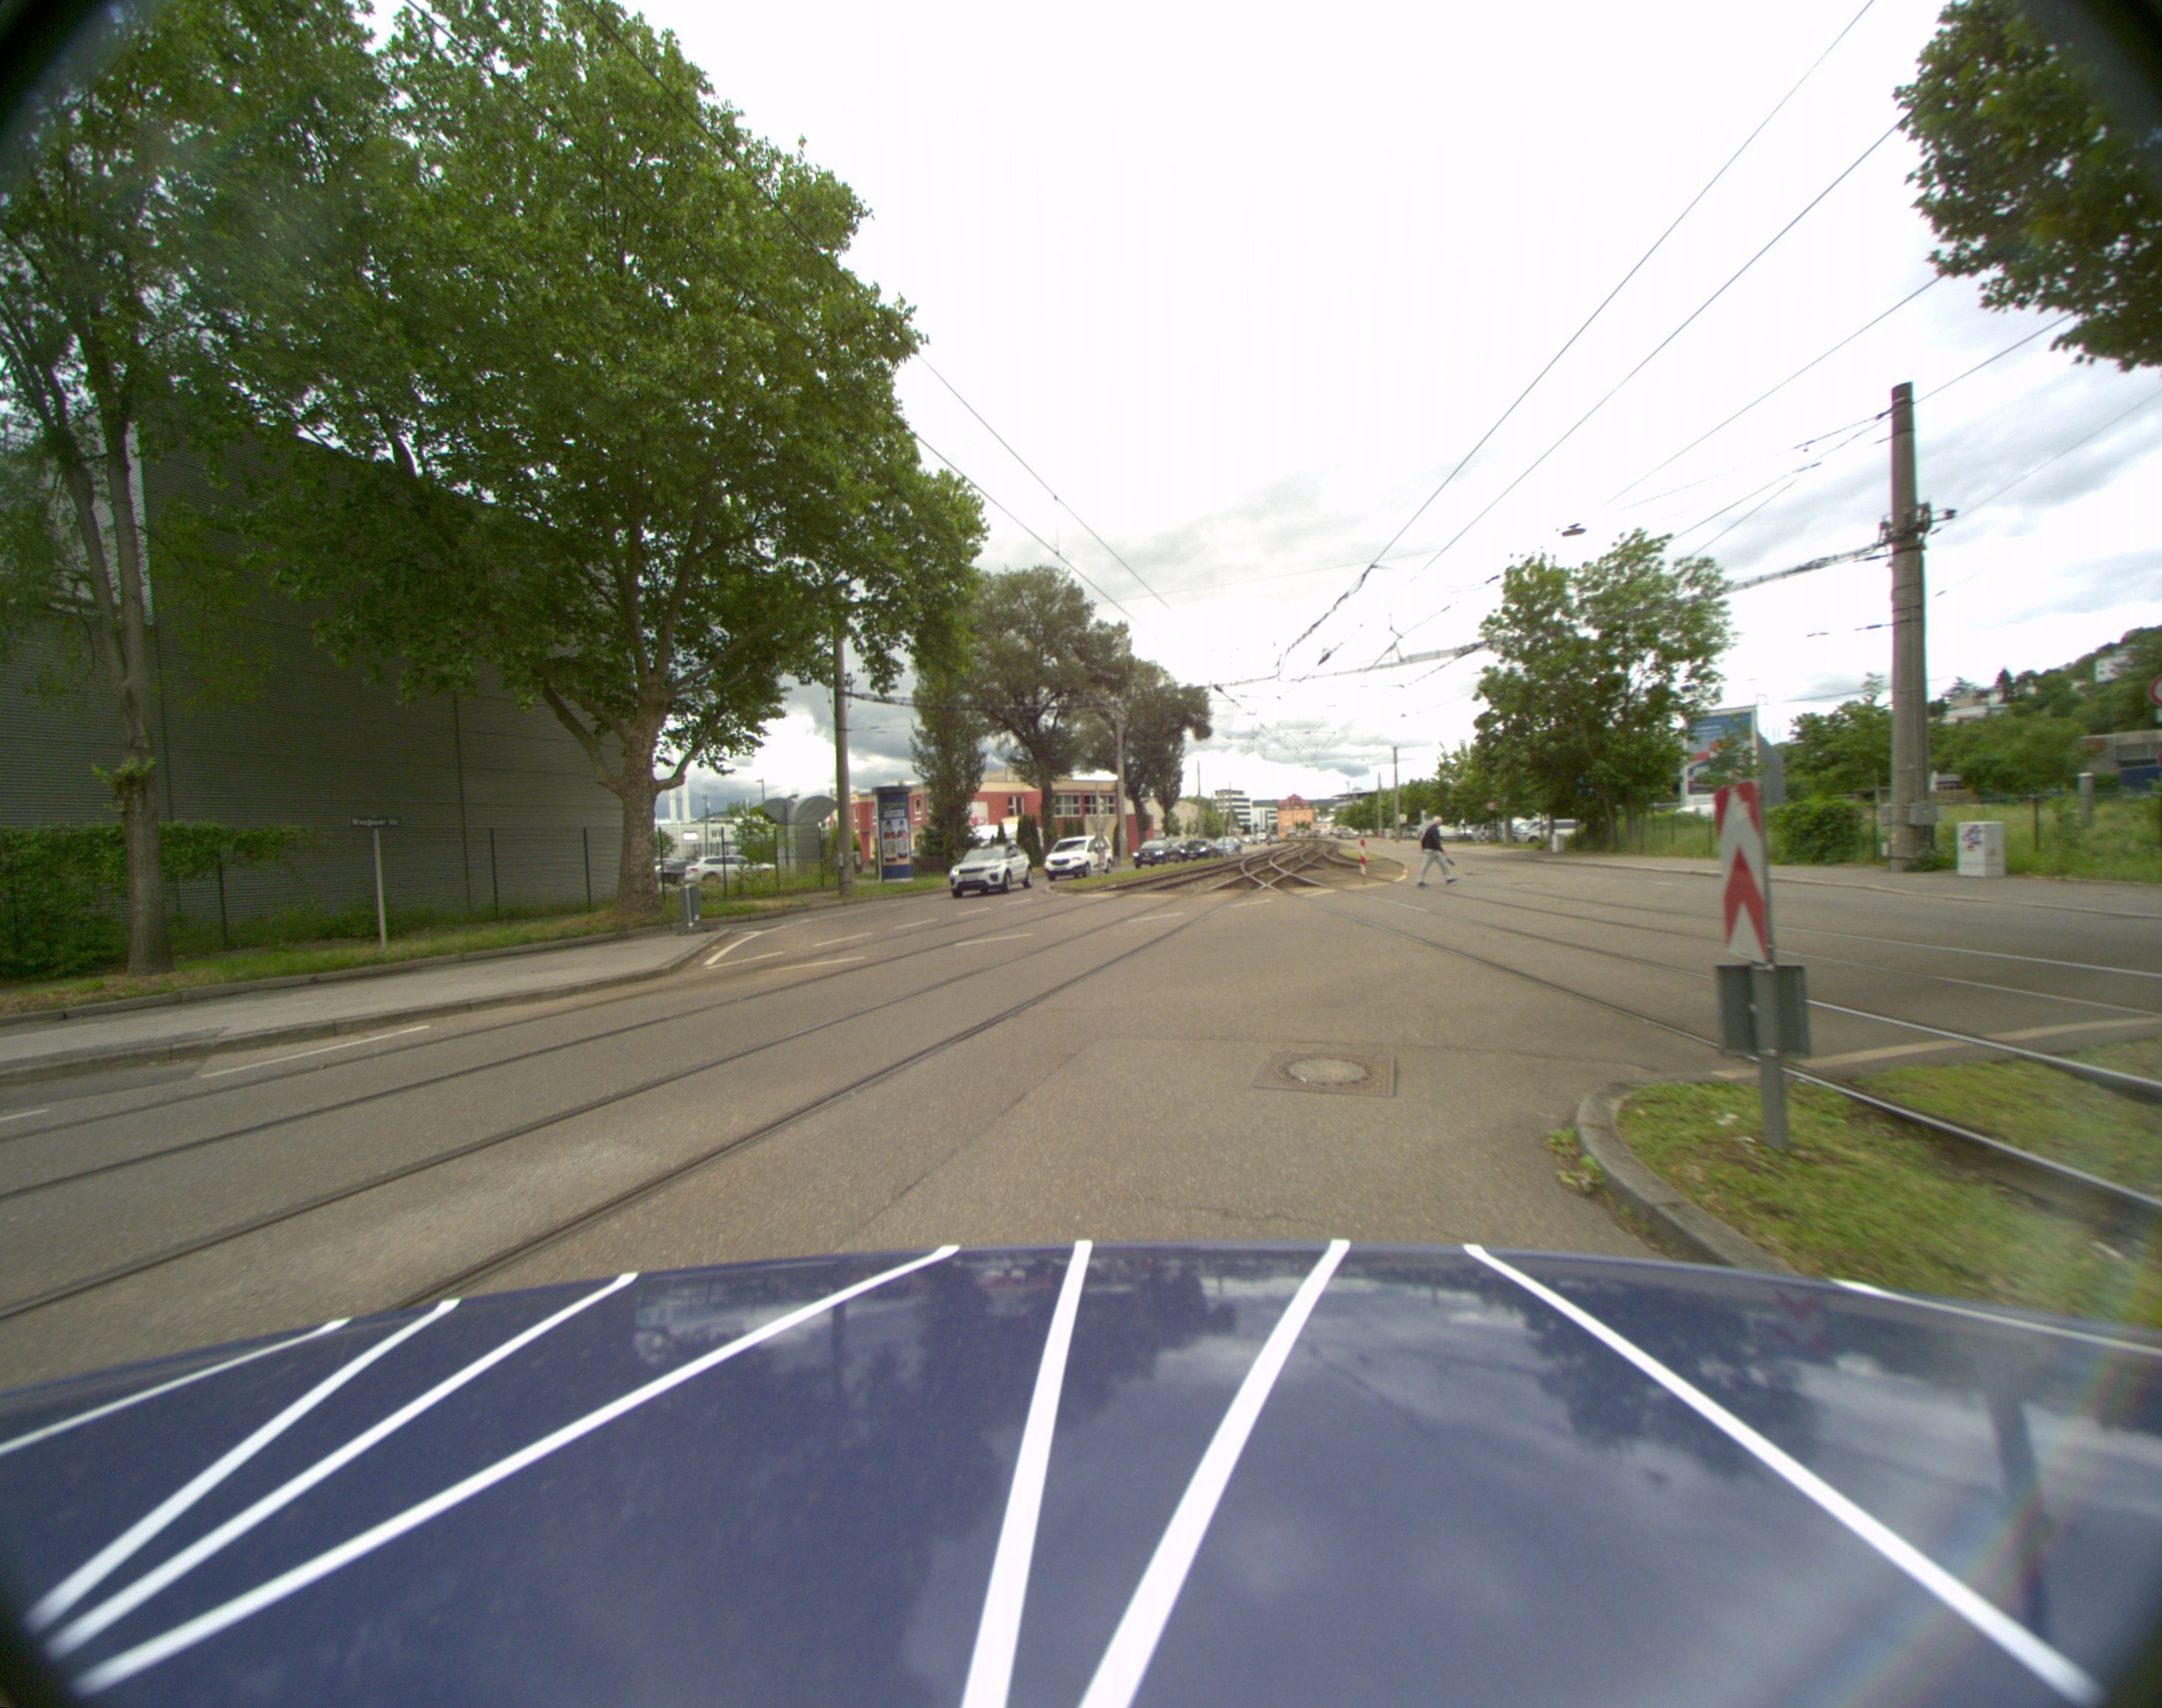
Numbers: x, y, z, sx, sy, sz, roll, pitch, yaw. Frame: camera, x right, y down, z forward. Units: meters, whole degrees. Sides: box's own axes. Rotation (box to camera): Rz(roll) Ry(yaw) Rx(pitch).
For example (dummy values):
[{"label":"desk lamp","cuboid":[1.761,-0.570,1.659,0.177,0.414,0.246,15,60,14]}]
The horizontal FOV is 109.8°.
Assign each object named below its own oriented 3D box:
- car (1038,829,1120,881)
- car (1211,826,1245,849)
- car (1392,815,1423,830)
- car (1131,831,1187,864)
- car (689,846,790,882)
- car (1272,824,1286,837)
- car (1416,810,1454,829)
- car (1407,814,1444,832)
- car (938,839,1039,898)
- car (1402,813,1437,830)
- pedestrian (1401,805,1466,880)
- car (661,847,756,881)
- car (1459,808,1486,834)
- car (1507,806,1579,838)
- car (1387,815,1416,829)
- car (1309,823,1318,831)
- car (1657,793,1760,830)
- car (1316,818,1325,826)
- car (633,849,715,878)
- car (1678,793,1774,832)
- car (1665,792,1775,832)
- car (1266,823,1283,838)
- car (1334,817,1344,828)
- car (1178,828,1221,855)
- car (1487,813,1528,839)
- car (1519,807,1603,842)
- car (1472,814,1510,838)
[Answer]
[{"label":"car","cuboid":[0.035,-0.021,34.020,1.996,1.991,5.039,-3,2,19]},{"label":"car","cuboid":[12.086,-1.385,62.329,1.996,1.547,4.565,-4,2,20]},{"label":"car","cuboid":[57.533,-5.565,133.959,4.632,2.196,2.110,-5,1,14]},{"label":"car","cuboid":[4.528,-0.416,43.419,1.996,1.547,4.565,-4,2,20]},{"label":"car","cuboid":[-18.522,0.507,41.313,4.509,1.656,1.994,-4,2,-40]},{"label":"car","cuboid":[30.816,-3.681,118.178,1.867,1.740,4.004,-5,1,17]},{"label":"car","cuboid":[51.285,-4.987,110.162,4.632,2.196,2.110,-5,1,14]},{"label":"car","cuboid":[52.283,-4.724,115.277,4.632,2.196,2.110,-5,1,14]},{"label":"car","cuboid":[-2.970,0.434,25.427,1.997,1.680,4.272,-4,0,11]},{"label":"car","cuboid":[53.650,-5.177,120.351,4.632,2.196,2.110,-5,1,14]},{"label":"pedestrian","cuboid":[8.927,-0.291,19.253,1.120,1.750,0.813,-5,1,-3]},{"label":"car","cuboid":[-21.716,0.549,44.414,4.509,1.656,1.994,-4,2,-40]},{"label":"car","cuboid":[50.024,-4.203,97.195,2.317,2.994,6.165,-5,1,22]},{"label":"car","cuboid":[39.396,-2.697,64.893,4.767,2.254,1.982,-5,1,19]},{"label":"car","cuboid":[60.568,-5.988,143.565,4.632,2.196,2.110,-5,1,14]},{"label":"car","cuboid":[56.871,-6.629,185.789,1.902,1.708,4.140,-4,3,20]},{"label":"car","cuboid":[48.080,-3.224,58.284,5.838,2.254,2.056,-5,1,44]},{"label":"car","cuboid":[64.398,-8.662,204.688,1.996,2.002,4.003,-5,1,15]},{"label":"car","cuboid":[-27.856,0.613,52.060,4.509,1.656,1.994,-4,2,-40]},{"label":"car","cuboid":[51.018,-3.281,60.218,5.650,2.446,1.983,-5,1,41]},{"label":"car","cuboid":[46.159,-2.995,55.030,5.848,2.254,2.056,-5,1,44]},{"label":"car","cuboid":[25.131,-3.111,98.690,1.867,1.740,4.004,-5,1,17]},{"label":"car","cuboid":[73.484,-9.097,216.745,2.407,2.931,4.754,-5,1,20]},{"label":"car","cuboid":[8.259,-0.873,52.462,1.996,1.547,4.565,-4,2,20]},{"label":"car","cuboid":[39.999,-2.633,71.325,2.139,2.104,4.780,-5,1,15]},{"label":"car","cuboid":[38.603,-2.358,61.246,5.262,2.254,2.002,-5,1,19]},{"label":"car","cuboid":[41.720,-2.862,77.379,2.139,2.104,4.780,-5,1,14]}]
